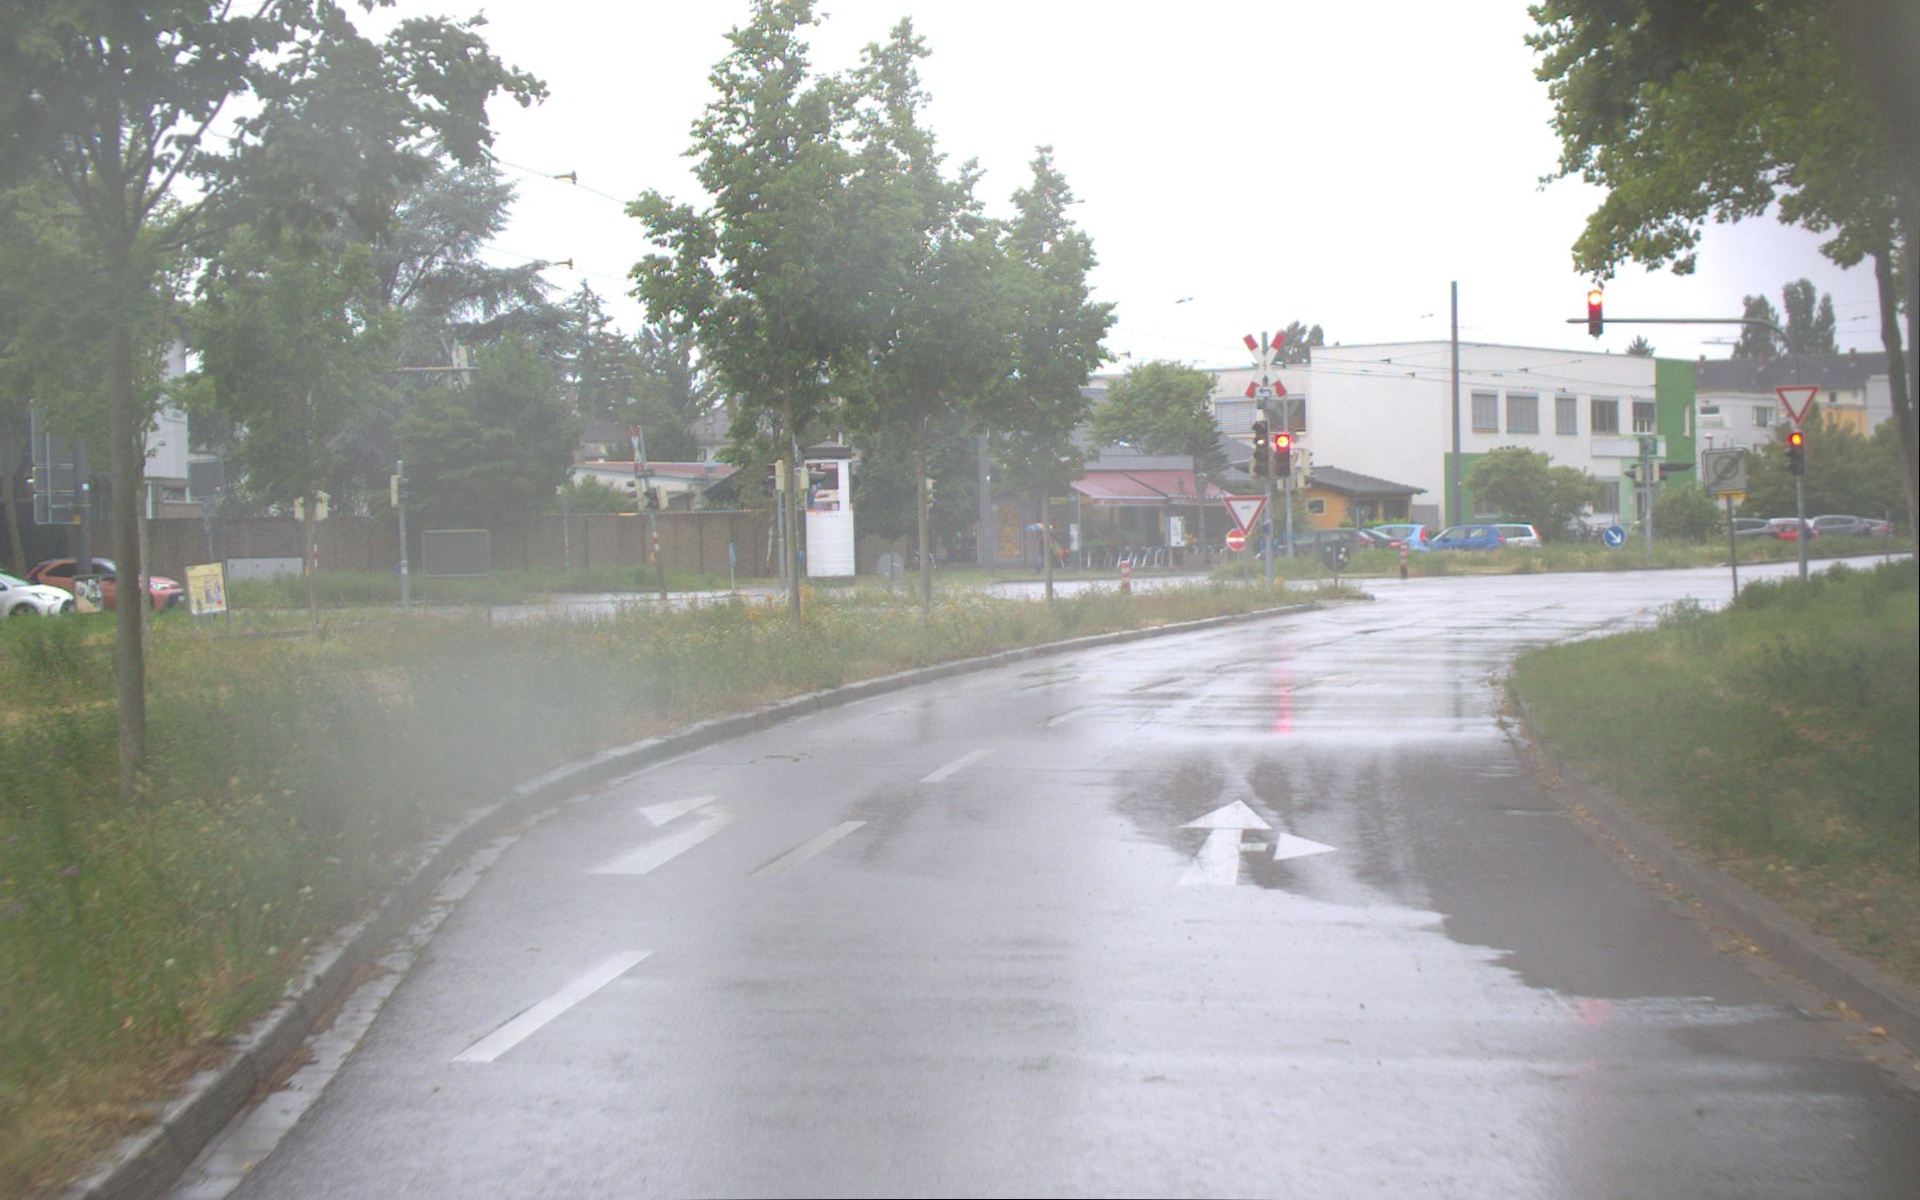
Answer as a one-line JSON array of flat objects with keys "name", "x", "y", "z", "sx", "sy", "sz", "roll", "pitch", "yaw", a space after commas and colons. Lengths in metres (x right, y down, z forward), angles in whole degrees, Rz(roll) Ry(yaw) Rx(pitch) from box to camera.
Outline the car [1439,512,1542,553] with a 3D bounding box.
[{"name": "car", "x": 19.897, "y": -2.535, "z": 129.014, "sx": 3.751, "sy": 1.437, "sz": 1.762, "roll": -1, "pitch": 1, "yaw": 9}]

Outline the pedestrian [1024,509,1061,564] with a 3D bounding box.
[{"name": "pedestrian", "x": 2.669, "y": -2.059, "z": 111.329, "sx": 0.800, "sy": 1.757, "sz": 0.909, "roll": -2, "pitch": 1, "yaw": -29}]

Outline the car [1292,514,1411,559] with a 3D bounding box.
[{"name": "car", "x": 13.525, "y": -2.182, "z": 118.675, "sx": 3.753, "sy": 1.437, "sz": 1.761, "roll": -1, "pitch": 1, "yaw": 18}]

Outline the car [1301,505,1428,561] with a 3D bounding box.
[{"name": "car", "x": 14.369, "y": -2.390, "z": 122.038, "sx": 4.139, "sy": 1.853, "sz": 1.672, "roll": -1, "pitch": 1, "yaw": 22}]

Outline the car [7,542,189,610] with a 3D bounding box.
[{"name": "car", "x": -20.388, "y": -0.573, "z": 81.362, "sx": 3.818, "sy": 1.494, "sz": 1.652, "roll": -2, "pitch": 1, "yaw": 4}]

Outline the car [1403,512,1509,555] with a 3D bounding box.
[{"name": "car", "x": 18.202, "y": -2.434, "z": 126.083, "sx": 3.751, "sy": 1.437, "sz": 1.762, "roll": -1, "pitch": 1, "yaw": 9}]

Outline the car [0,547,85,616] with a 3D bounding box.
[{"name": "car", "x": -22.046, "y": -0.383, "z": 77.653, "sx": 4.066, "sy": 1.494, "sz": 1.652, "roll": -2, "pitch": 1, "yaw": 4}]
